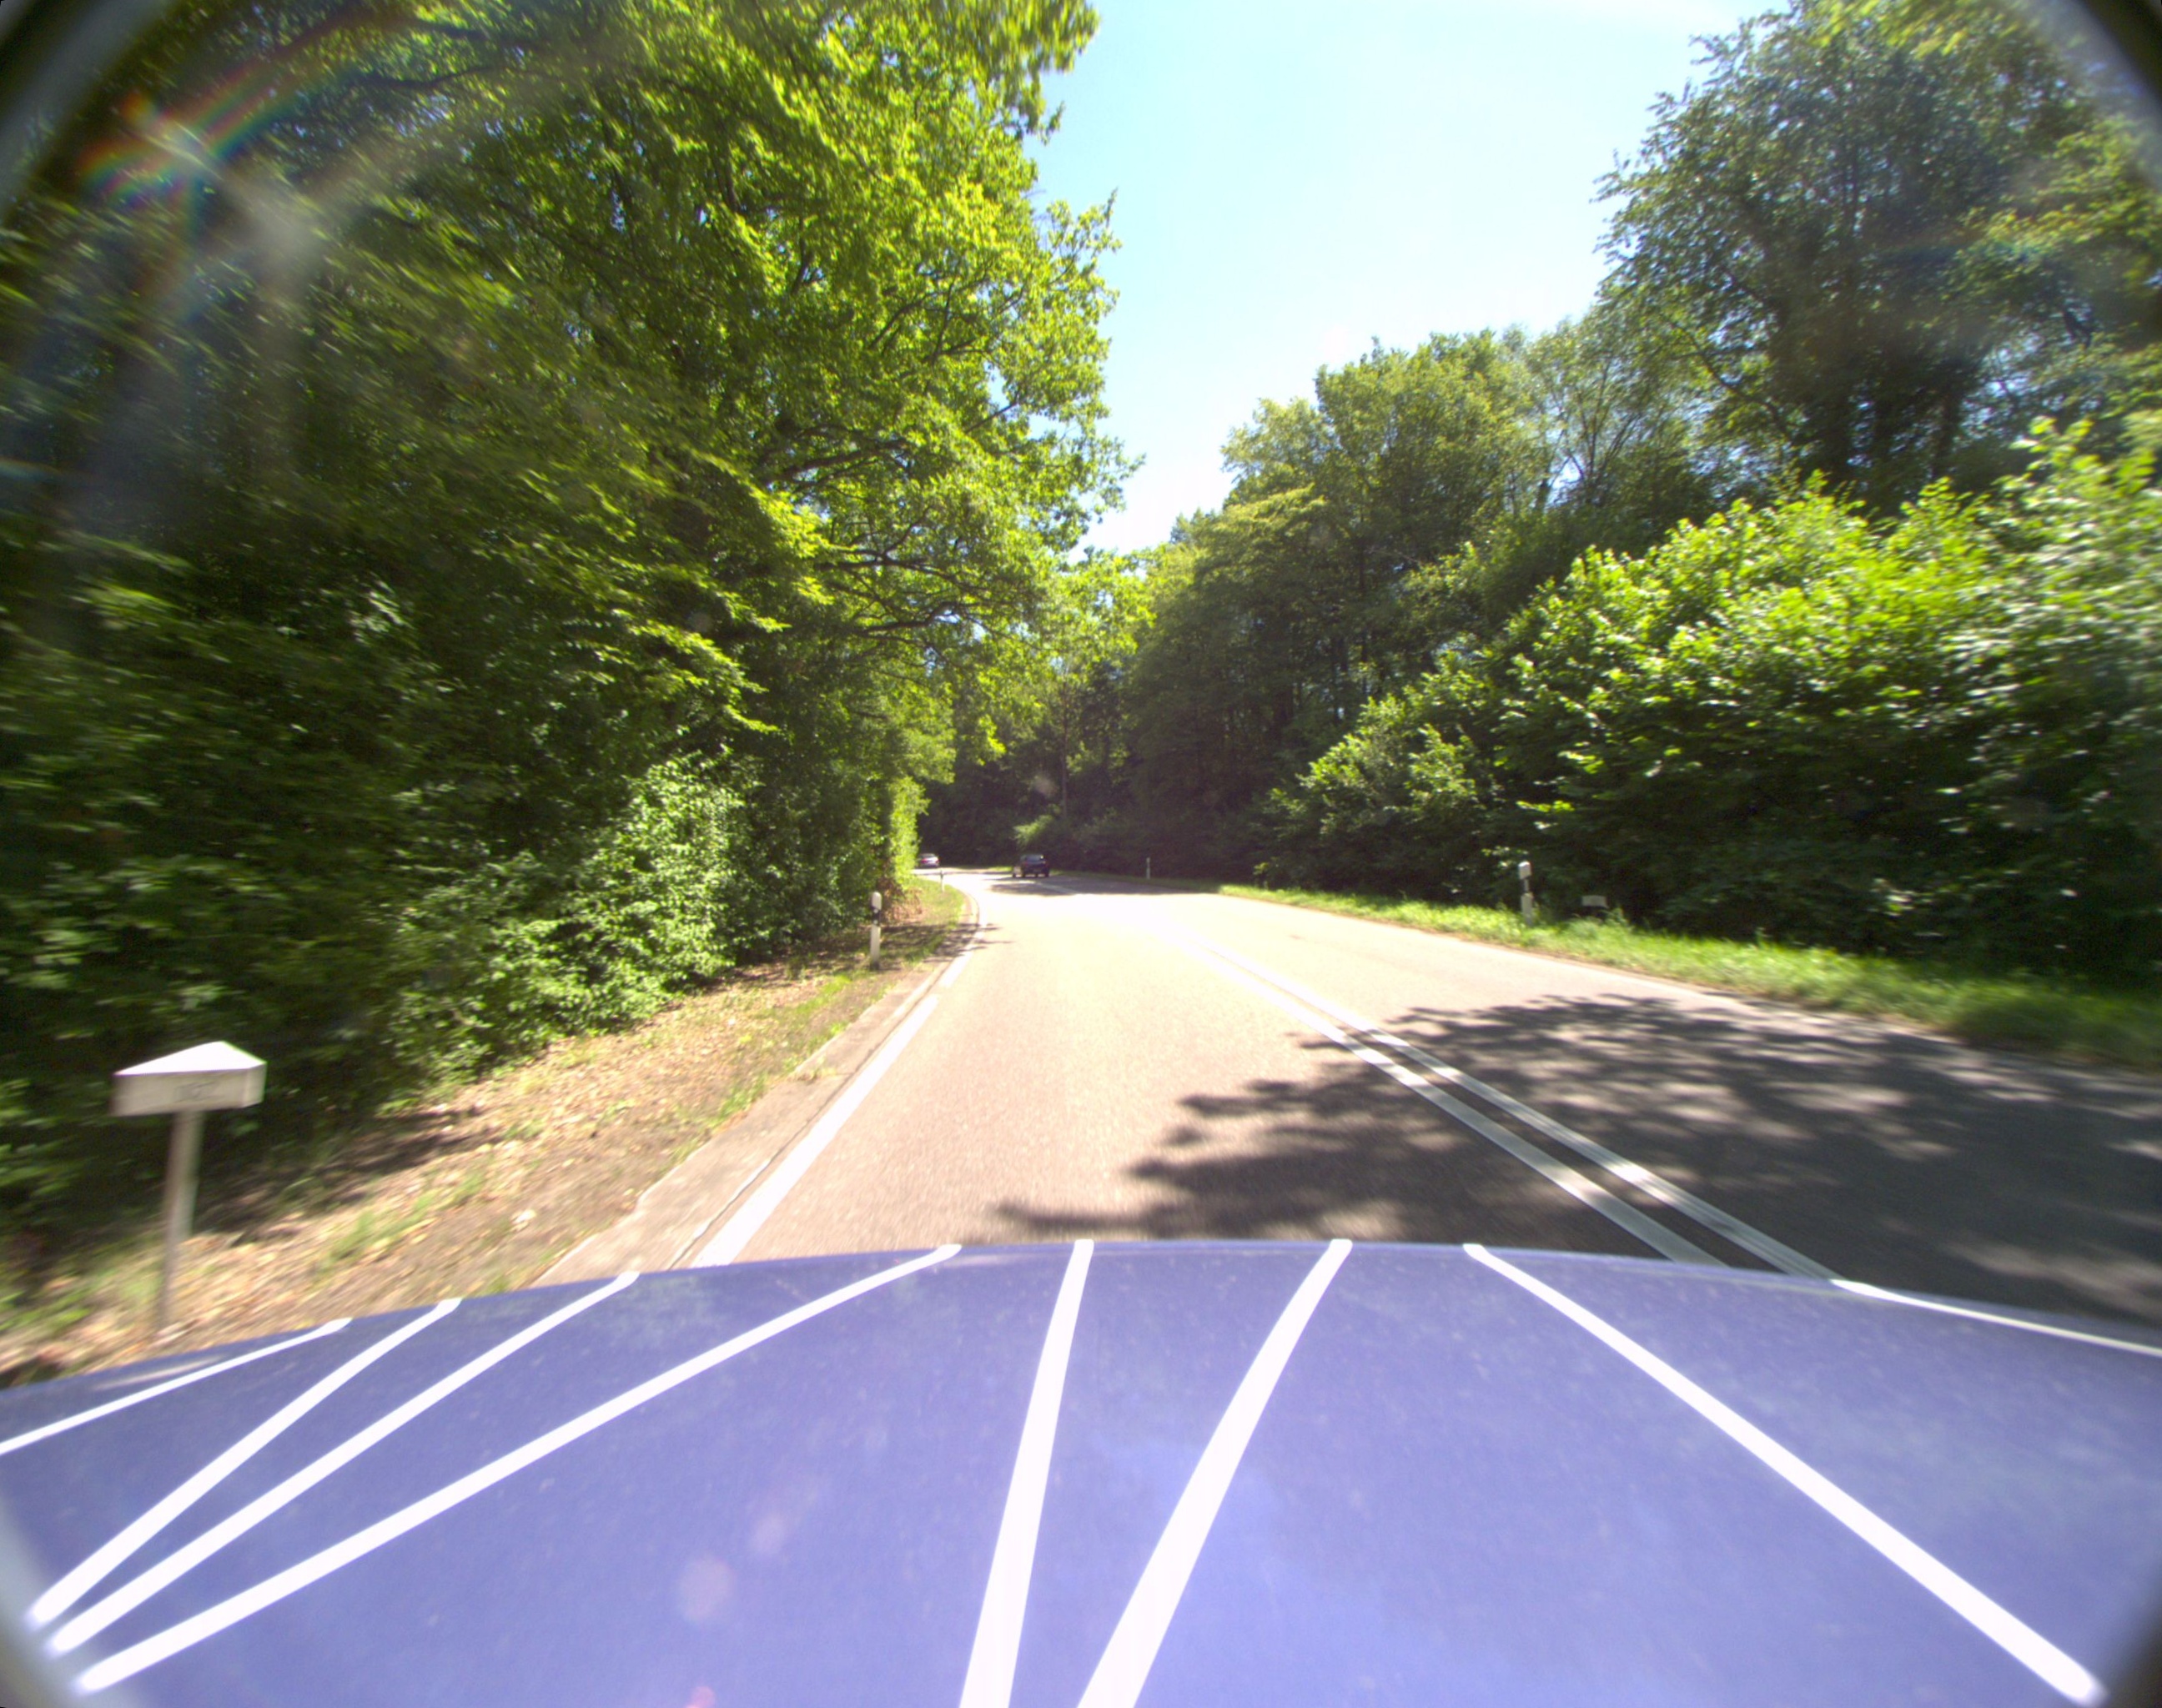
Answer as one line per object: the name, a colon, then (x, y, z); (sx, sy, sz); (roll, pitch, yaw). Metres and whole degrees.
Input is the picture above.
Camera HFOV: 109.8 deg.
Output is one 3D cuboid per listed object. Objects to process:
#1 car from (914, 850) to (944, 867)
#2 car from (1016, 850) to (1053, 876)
car: (-14.567, 0.396, 72.546); (1.764, 1.565, 4.358); (-2, 1, -25)
car: (-2.907, 0.523, 47.171); (1.683, 1.565, 3.890); (0, 1, -13)
